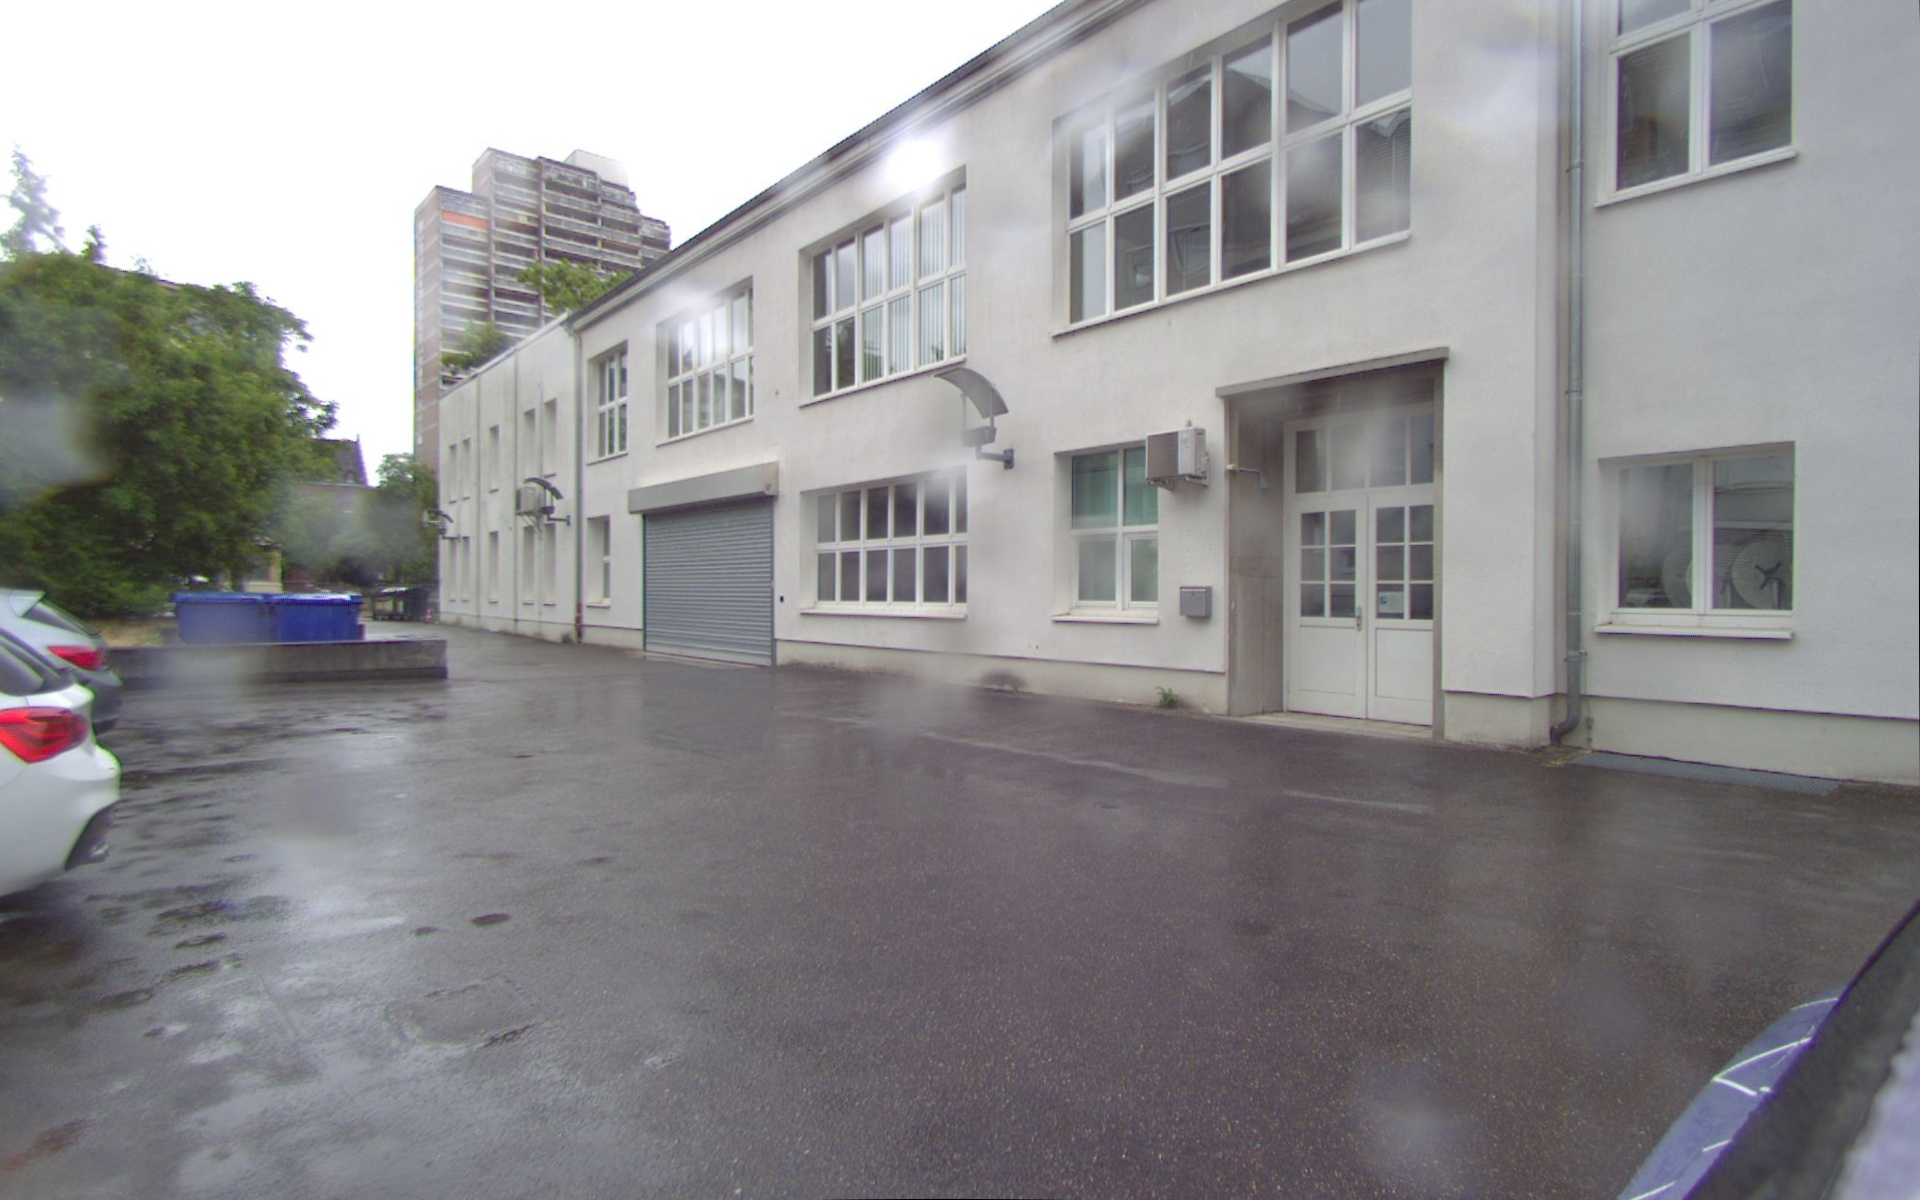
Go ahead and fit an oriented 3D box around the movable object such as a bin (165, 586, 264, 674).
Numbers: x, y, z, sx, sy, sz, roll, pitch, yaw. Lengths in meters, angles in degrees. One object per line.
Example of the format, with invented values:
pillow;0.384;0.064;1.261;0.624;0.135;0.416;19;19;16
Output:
movable object such as a bin;-12.763;0.495;17.297;1.212;1.375;1.967;-2;0;-40

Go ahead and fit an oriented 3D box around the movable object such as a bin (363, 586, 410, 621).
movable object such as a bin;-25.266;0.144;44.573;1.469;1.467;1.310;-2;0;-45

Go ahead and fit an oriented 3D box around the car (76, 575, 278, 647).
car;-23.345;0.304;30.363;4.613;1.906;2.121;-2;-1;-38

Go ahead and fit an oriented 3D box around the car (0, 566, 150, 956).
car;-5.559;0.641;3.516;4.151;1.508;1.995;-1;0;-44

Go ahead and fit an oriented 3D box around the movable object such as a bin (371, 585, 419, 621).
movable object such as a bin;-24.339;0.139;43.597;1.469;1.467;1.310;-2;0;-45

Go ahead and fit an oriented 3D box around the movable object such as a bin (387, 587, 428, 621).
movable object such as a bin;-23.185;0.166;42.491;1.169;1.391;1.310;-2;-1;-45

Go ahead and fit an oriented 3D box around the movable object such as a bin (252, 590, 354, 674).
movable object such as a bin;-11.778;0.549;18.118;1.291;1.375;1.902;-2;0;-40

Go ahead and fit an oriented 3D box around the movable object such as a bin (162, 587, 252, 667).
movable object such as a bin;-14.035;0.498;18.837;1.212;1.375;1.967;-2;0;-40

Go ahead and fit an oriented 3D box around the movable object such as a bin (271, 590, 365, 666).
movable object such as a bin;-12.650;0.540;19.912;1.291;1.375;1.902;-2;0;-40

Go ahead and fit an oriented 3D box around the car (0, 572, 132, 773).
car;-8.824;0.560;7.414;4.151;1.508;1.995;-1;0;-44
